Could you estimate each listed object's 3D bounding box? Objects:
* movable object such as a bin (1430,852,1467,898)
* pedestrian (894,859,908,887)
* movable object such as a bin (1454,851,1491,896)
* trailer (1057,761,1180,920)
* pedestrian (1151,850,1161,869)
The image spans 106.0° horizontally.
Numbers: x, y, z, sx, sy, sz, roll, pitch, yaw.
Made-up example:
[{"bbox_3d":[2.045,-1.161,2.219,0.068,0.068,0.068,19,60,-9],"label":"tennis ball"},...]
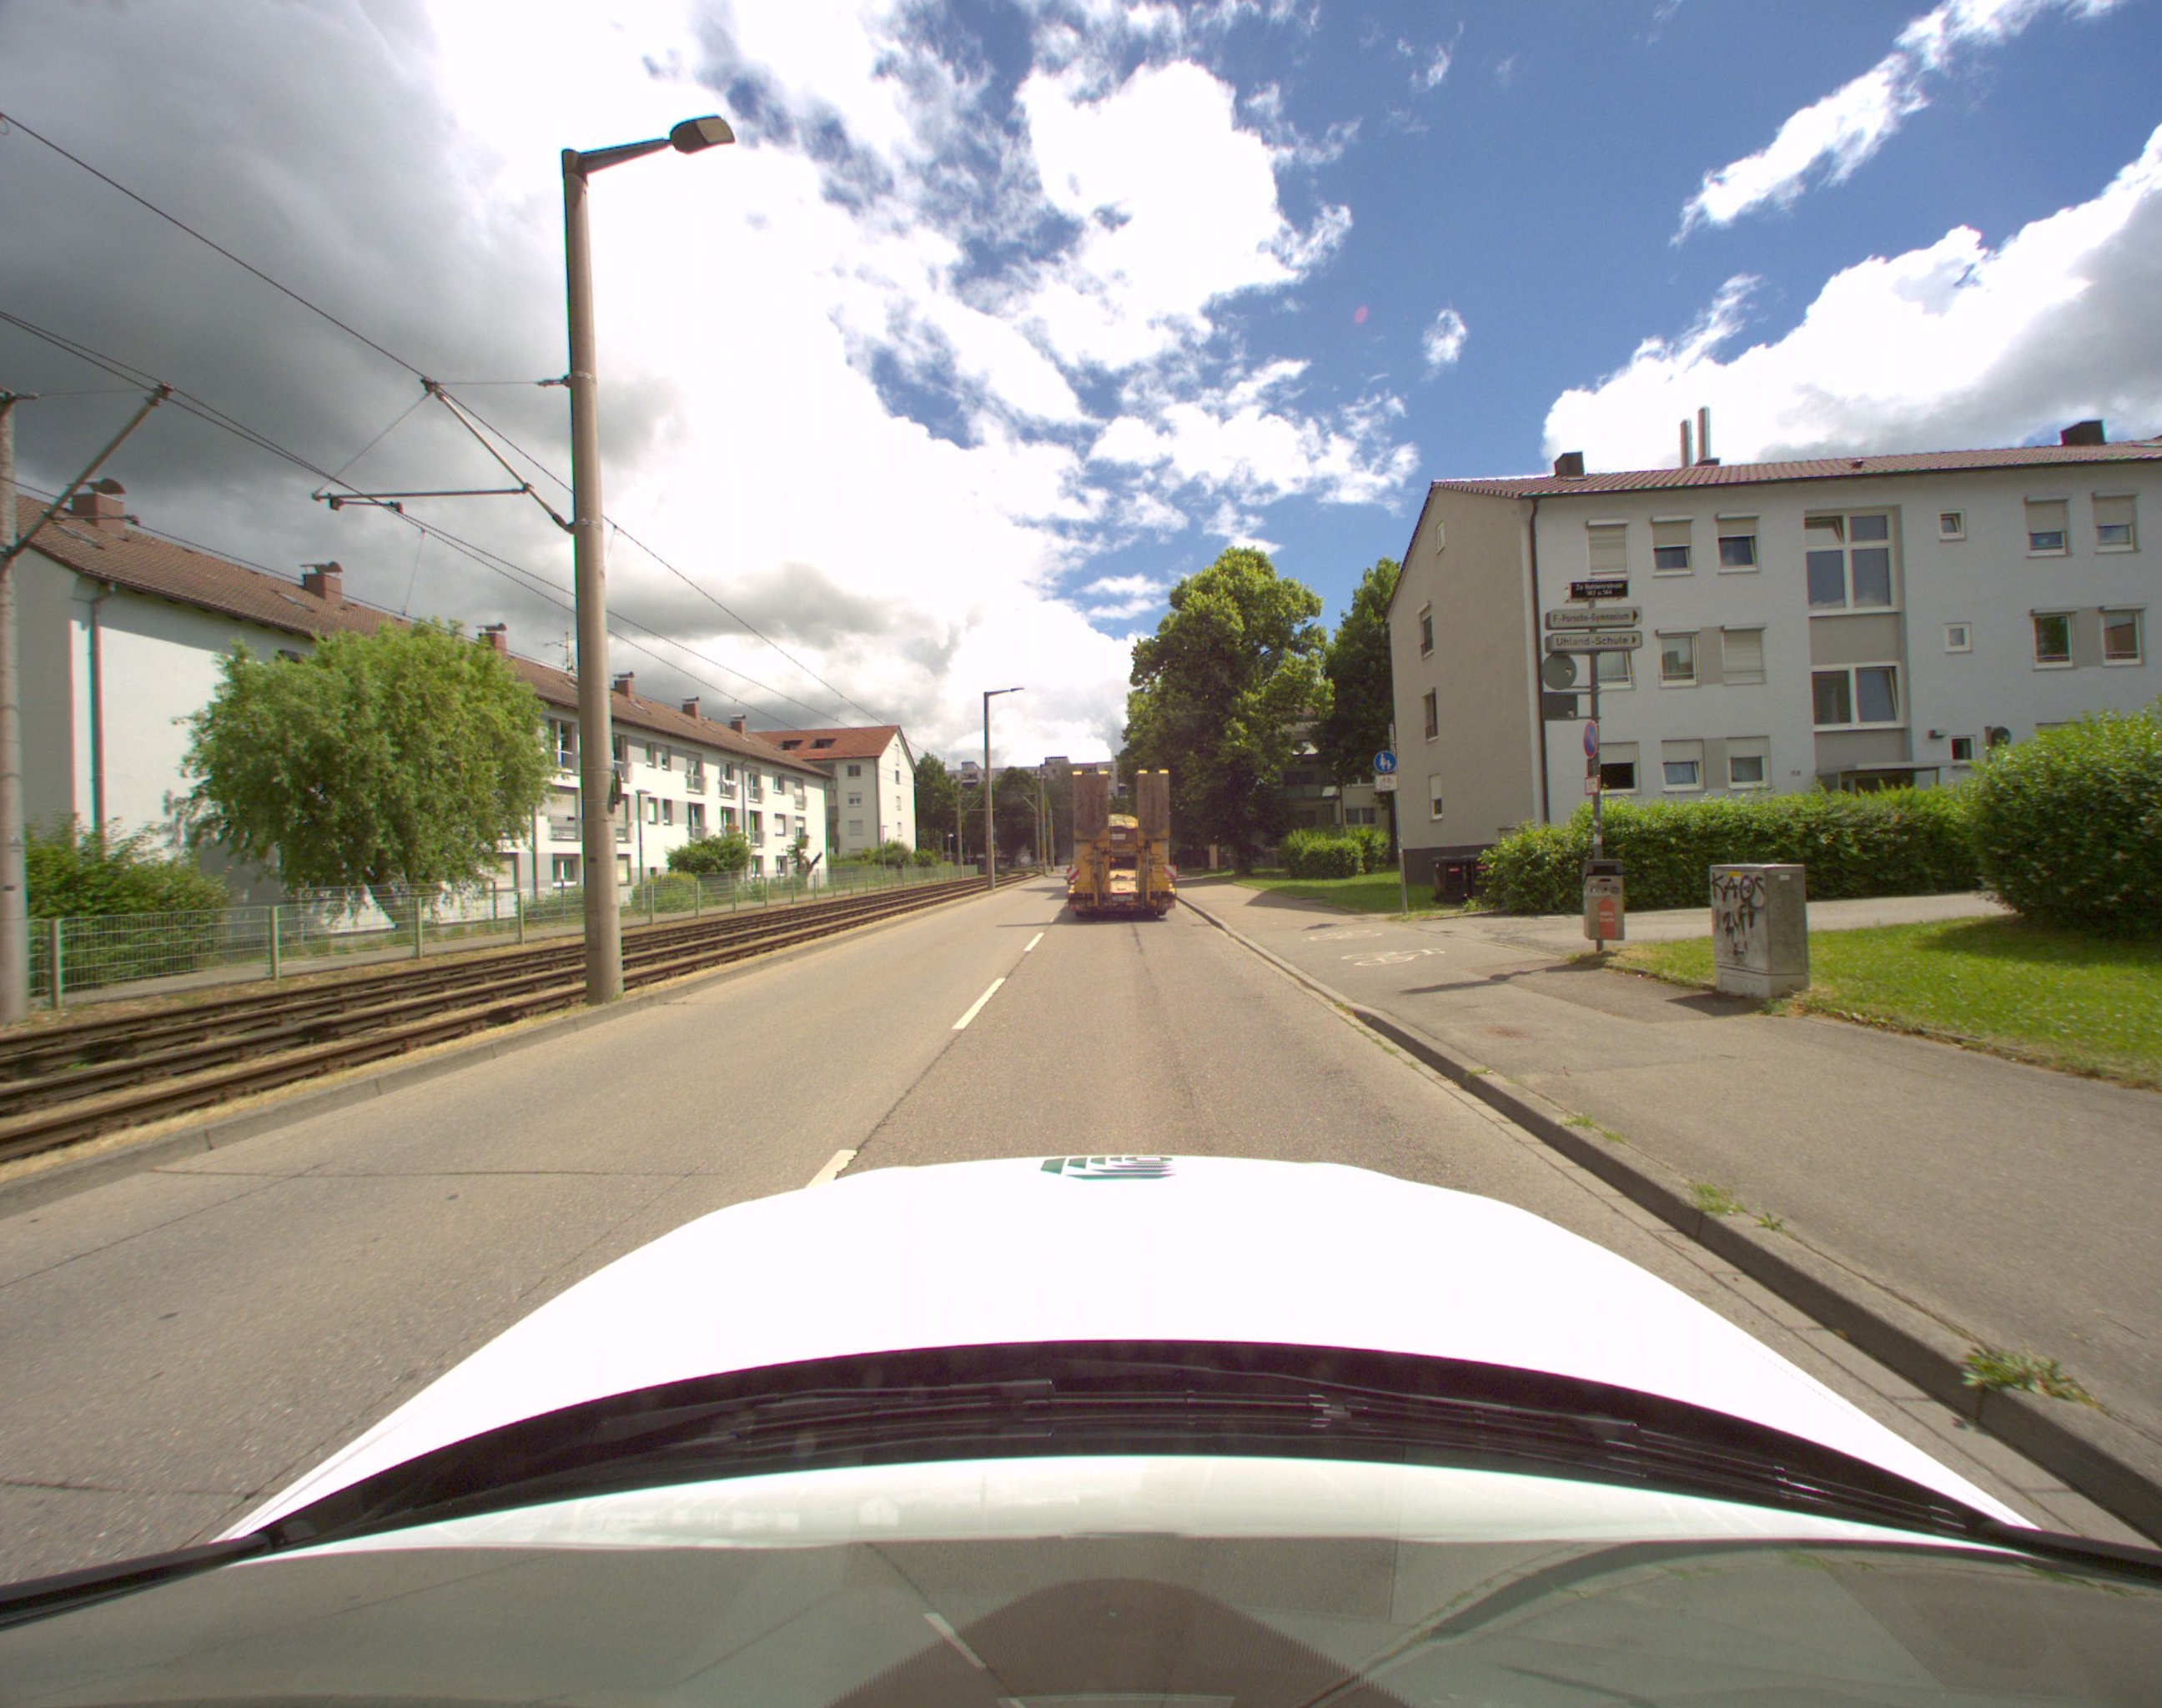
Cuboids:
[{"bbox_3d":[8.006,0.455,17.766,0.494,0.955,0.580,-3,-1,2],"label":"movable object such as a bin"},{"bbox_3d":[-12.246,1.267,55.500,0.656,1.849,0.769,-3,-1,2],"label":"pedestrian"},{"bbox_3d":[8.573,0.427,17.835,0.498,0.947,0.551,-3,-1,2],"label":"movable object such as a bin"},{"bbox_3d":[0.947,-0.296,25.057,2.817,3.646,12.354,-1,0,1],"label":"trailer"},{"bbox_3d":[6.971,0.537,75.702,0.715,1.706,0.766,-3,0,2],"label":"pedestrian"}]
